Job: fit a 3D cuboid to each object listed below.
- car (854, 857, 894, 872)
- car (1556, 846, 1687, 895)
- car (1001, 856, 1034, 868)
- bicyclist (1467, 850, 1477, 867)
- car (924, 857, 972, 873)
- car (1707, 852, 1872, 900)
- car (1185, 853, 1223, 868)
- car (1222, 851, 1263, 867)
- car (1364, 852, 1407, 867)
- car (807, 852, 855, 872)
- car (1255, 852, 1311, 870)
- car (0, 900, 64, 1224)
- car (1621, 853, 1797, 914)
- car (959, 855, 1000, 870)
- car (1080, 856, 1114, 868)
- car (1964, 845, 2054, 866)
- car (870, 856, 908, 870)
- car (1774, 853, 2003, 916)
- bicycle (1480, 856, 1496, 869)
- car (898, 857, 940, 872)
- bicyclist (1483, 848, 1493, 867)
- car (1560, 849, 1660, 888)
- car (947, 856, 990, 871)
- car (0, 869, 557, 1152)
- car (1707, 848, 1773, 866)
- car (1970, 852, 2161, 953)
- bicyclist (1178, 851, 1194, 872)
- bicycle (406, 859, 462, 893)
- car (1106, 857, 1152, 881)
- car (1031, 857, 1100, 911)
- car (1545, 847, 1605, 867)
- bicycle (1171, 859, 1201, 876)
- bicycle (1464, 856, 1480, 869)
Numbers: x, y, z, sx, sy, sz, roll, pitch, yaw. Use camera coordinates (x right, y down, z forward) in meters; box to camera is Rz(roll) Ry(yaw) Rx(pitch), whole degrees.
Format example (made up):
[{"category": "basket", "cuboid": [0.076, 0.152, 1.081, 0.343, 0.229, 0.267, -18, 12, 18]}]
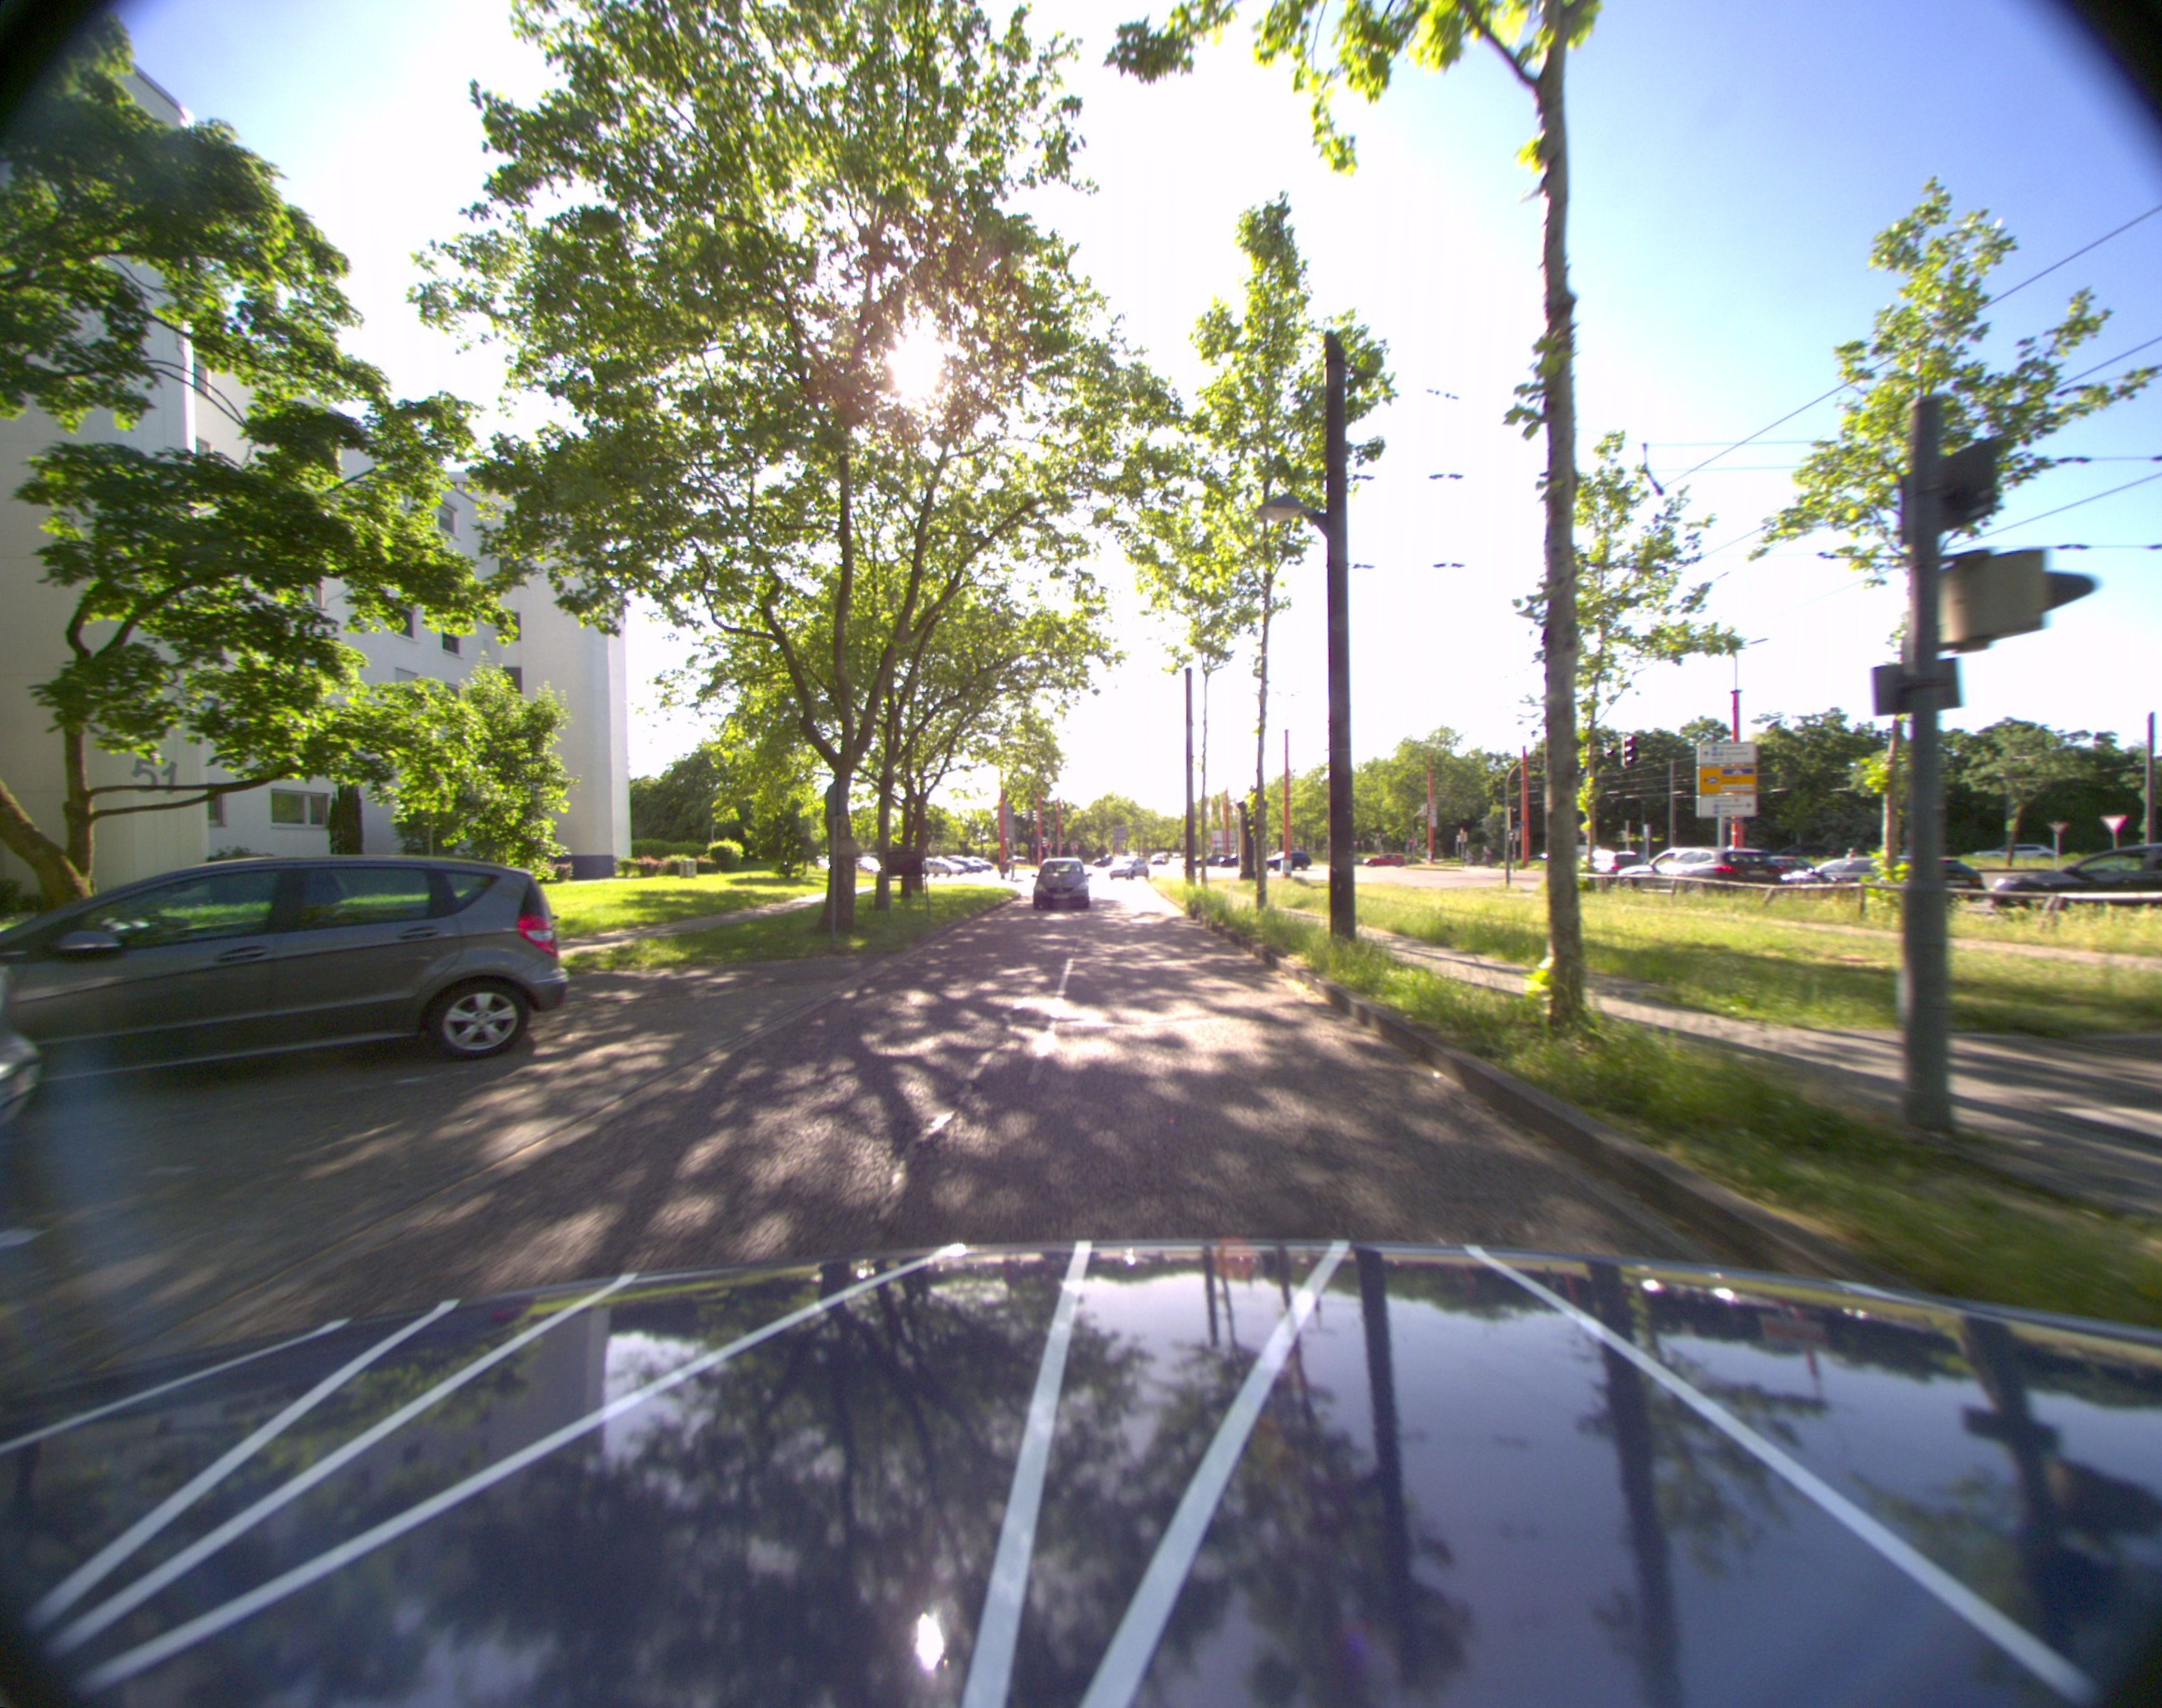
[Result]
[{"category": "car", "cuboid": [-22.432, 1.101, 82.332, 3.989, 1.497, 1.803, -1, 2, 29]}, {"category": "car", "cuboid": [19.413, 0.568, 27.524, 1.798, 1.607, 4.234, -1, 0, 2]}, {"category": "car", "cuboid": [-7.862, 1.001, 94.545, 3.777, 1.501, 1.616, -1, 0, 23]}, {"category": "bicyclist", "cuboid": [34.236, 0.387, 66.552, 0.499, 1.439, 0.778, -1, 1, 4]}, {"category": "car", "cuboid": [-12.766, 1.053, 72.970, 4.274, 1.473, 1.803, -1, 2, 29]}, {"category": "car", "cuboid": [24.654, 0.713, 26.696, 1.799, 1.501, 4.267, -1, 0, -1]}, {"category": "car", "cuboid": [14.160, 0.739, 87.692, 3.989, 1.645, 1.803, -1, 0, 28]}, {"category": "car", "cuboid": [17.468, 0.524, 82.256, 3.989, 1.645, 1.803, -1, 0, 29]}, {"category": "car", "cuboid": [31.616, 0.598, 78.956, 3.989, 1.501, 1.803, -1, 0, 28]}, {"category": "car", "cuboid": [-28.276, 0.915, 85.991, 5.180, 2.075, 2.096, -1, 2, 29]}, {"category": "car", "cuboid": [18.171, 0.651, 68.463, 4.630, 1.501, 1.787, -1, 0, -17]}, {"category": "car", "cuboid": [-6.387, 0.990, 2.333, 3.591, 1.483, 1.795, 0, 0, -40]}, {"category": "car", "cuboid": [18.281, 0.778, 22.418, 1.798, 1.607, 4.234, -1, 0, 2]}, {"category": "car", "cuboid": [-10.716, 0.853, 80.001, 3.989, 1.473, 1.803, -1, 2, 29]}, {"category": "car", "cuboid": [1.977, 0.957, 94.255, 3.776, 1.497, 1.616, -1, 0, 27]}, {"category": "car", "cuboid": [70.635, 0.137, 57.916, 3.989, 1.501, 1.803, -1, 0, 27]}, {"category": "car", "cuboid": [-21.796, 1.018, 86.142, 3.989, 1.473, 1.803, -1, 2, 29]}, {"category": "car", "cuboid": [21.748, 0.751, 20.772, 1.798, 1.501, 4.267, -1, 0, 2]}, {"category": "bicycle", "cuboid": [35.538, 0.694, 66.335, 0.562, 1.101, 1.800, -1, 0, 4]}, {"category": "car", "cuboid": [-16.899, 1.083, 79.173, 3.989, 1.384, 1.803, -1, 2, 29]}, {"category": "bicyclist", "cuboid": [35.531, 0.272, 66.328, 0.562, 1.642, 0.715, -1, 1, 4]}, {"category": "car", "cuboid": [24.651, 0.638, 35.634, 1.798, 1.668, 4.267, -1, 0, 2]}, {"category": "car", "cuboid": [-11.339, 0.945, 76.362, 3.989, 1.473, 1.803, -1, 2, 29]}, {"category": "car", "cuboid": [-6.213, 0.934, 5.590, 3.734, 1.583, 1.795, 0, 0, -40]}, {"category": "car", "cuboid": [56.988, 0.302, 65.756, 3.989, 1.501, 1.803, -1, 0, 28]}, {"category": "car", "cuboid": [18.399, 0.787, 12.848, 1.798, 1.598, 4.267, -1, 0, 2]}, {"category": "bicyclist", "cuboid": [7.406, 0.530, 53.582, 0.955, 1.469, 0.704, -1, 1, 24]}, {"category": "bicycle", "cuboid": [-22.617, 0.745, 26.596, 0.500, 1.101, 1.799, 4, 0, -5]}, {"category": "car", "cuboid": [3.457, 1.047, 54.049, 1.700, 1.579, 3.912, -1, 0, 29]}, {"category": "car", "cuboid": [-0.444, 0.929, 25.180, 1.798, 1.580, 3.765, -1, 0, 6]}, {"category": "car", "cuboid": [46.256, 0.321, 71.272, 4.545, 1.825, 1.803, -1, 0, 27]}, {"category": "bicycle", "cuboid": [7.412, 0.958, 53.593, 1.896, 1.101, 0.704, -1, 1, 24]}, {"category": "bicycle", "cuboid": [34.242, 0.714, 66.558, 0.499, 1.101, 1.800, -1, 0, 4]}]
